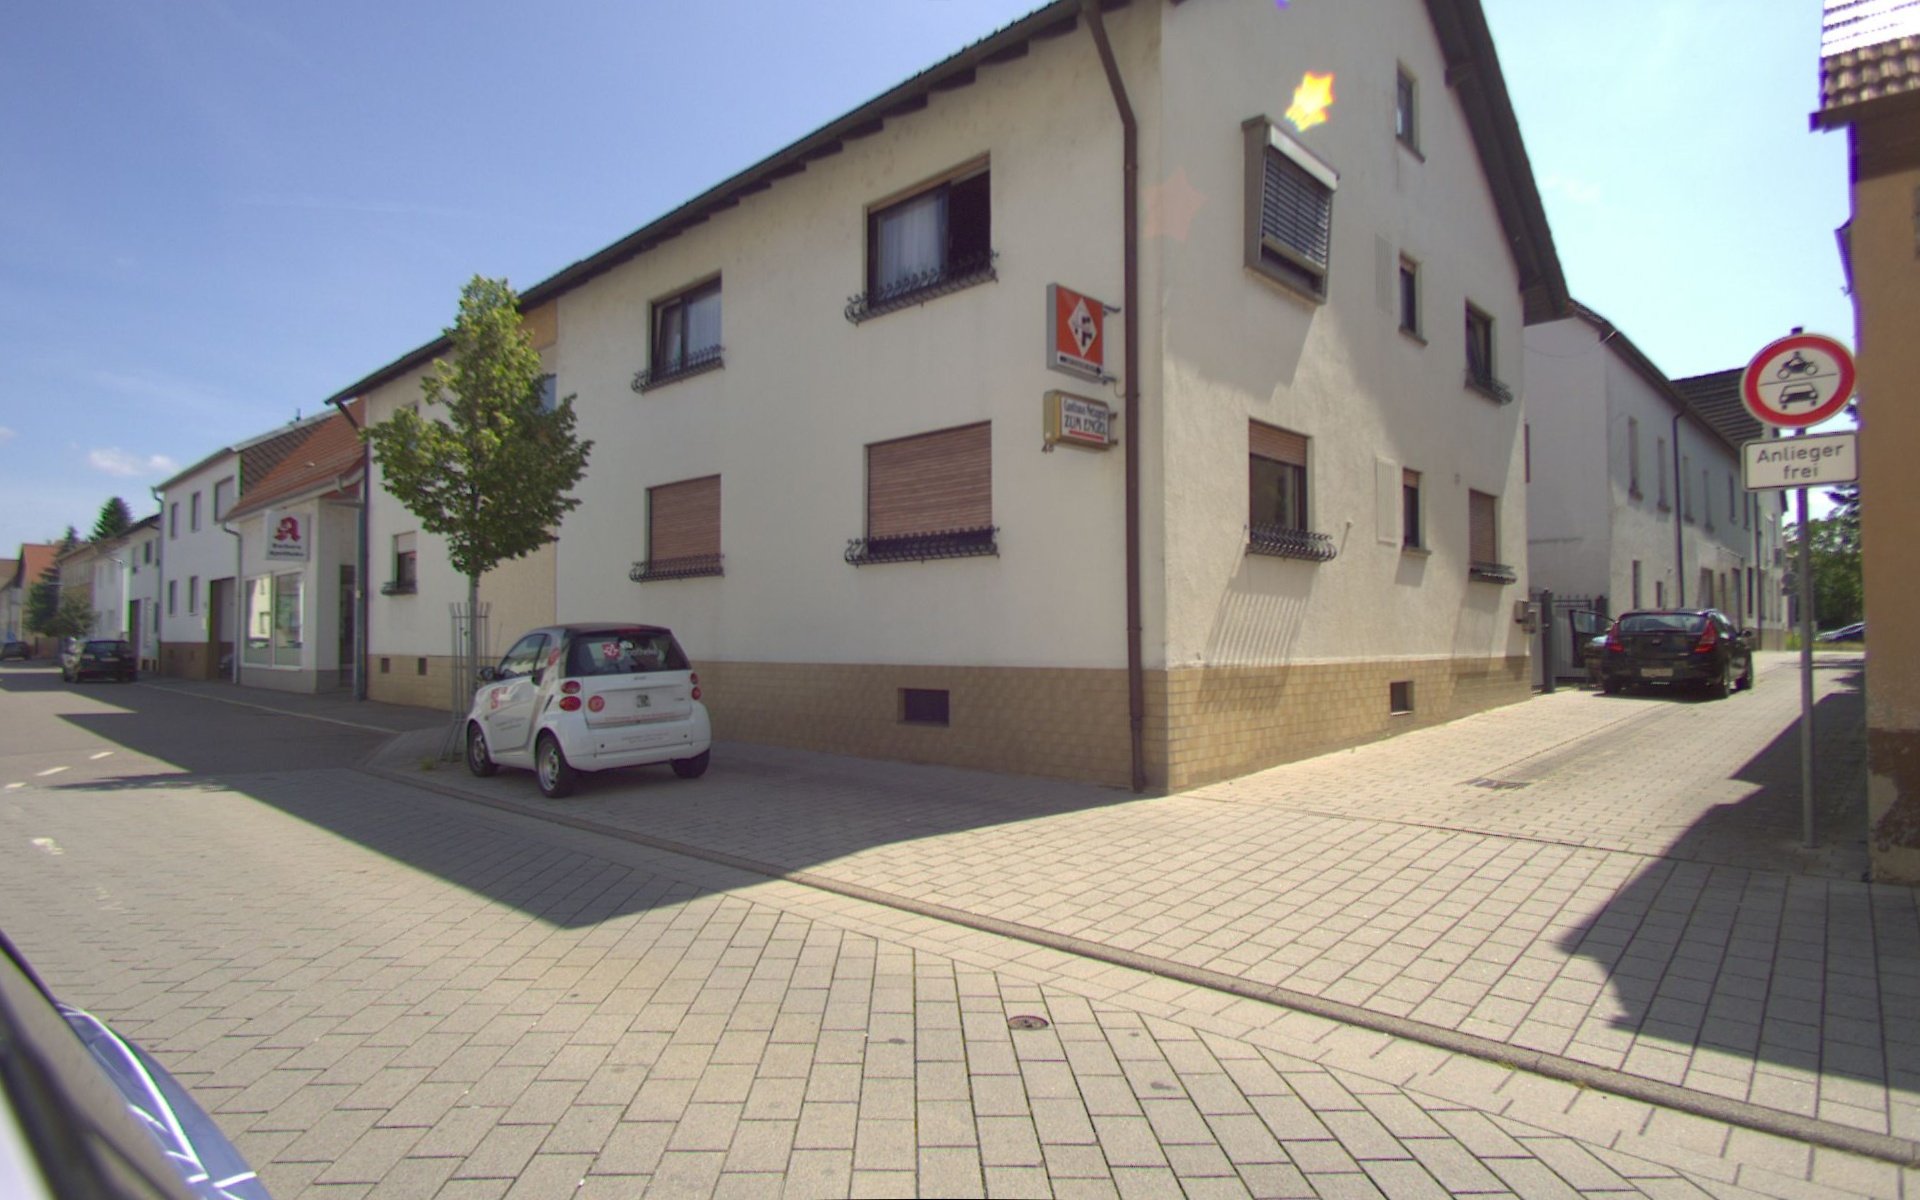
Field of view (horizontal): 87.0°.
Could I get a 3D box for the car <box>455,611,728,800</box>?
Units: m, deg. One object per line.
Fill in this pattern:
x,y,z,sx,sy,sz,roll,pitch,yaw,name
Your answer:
-3.804,0.949,10.266,1.554,1.573,2.824,-1,0,-44,car

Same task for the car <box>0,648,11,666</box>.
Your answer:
-86.679,5.148,90.853,3.999,1.564,1.830,-2,-3,42,car

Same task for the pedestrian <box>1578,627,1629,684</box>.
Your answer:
11.989,1.026,18.846,0.631,1.015,0.806,-2,-1,44,pedestrian

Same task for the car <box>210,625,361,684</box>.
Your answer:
-22.774,1.805,34.245,1.815,1.731,3.942,-3,-1,45,car

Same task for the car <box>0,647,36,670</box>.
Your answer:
-70.968,4.382,76.150,4.001,1.711,1.826,-2,-3,44,car

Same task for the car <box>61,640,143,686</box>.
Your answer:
-31.266,2.254,36.844,3.954,1.578,1.729,-2,-3,42,car

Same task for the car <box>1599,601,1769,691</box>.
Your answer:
12.944,0.785,18.008,1.847,1.429,3.941,-3,-3,45,car

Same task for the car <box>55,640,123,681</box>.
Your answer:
-36.431,2.486,42.320,4.121,1.630,1.734,-2,-3,44,car

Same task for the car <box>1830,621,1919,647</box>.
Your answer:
46.235,1.685,50.561,1.970,1.253,4.003,0,-1,-44,car
